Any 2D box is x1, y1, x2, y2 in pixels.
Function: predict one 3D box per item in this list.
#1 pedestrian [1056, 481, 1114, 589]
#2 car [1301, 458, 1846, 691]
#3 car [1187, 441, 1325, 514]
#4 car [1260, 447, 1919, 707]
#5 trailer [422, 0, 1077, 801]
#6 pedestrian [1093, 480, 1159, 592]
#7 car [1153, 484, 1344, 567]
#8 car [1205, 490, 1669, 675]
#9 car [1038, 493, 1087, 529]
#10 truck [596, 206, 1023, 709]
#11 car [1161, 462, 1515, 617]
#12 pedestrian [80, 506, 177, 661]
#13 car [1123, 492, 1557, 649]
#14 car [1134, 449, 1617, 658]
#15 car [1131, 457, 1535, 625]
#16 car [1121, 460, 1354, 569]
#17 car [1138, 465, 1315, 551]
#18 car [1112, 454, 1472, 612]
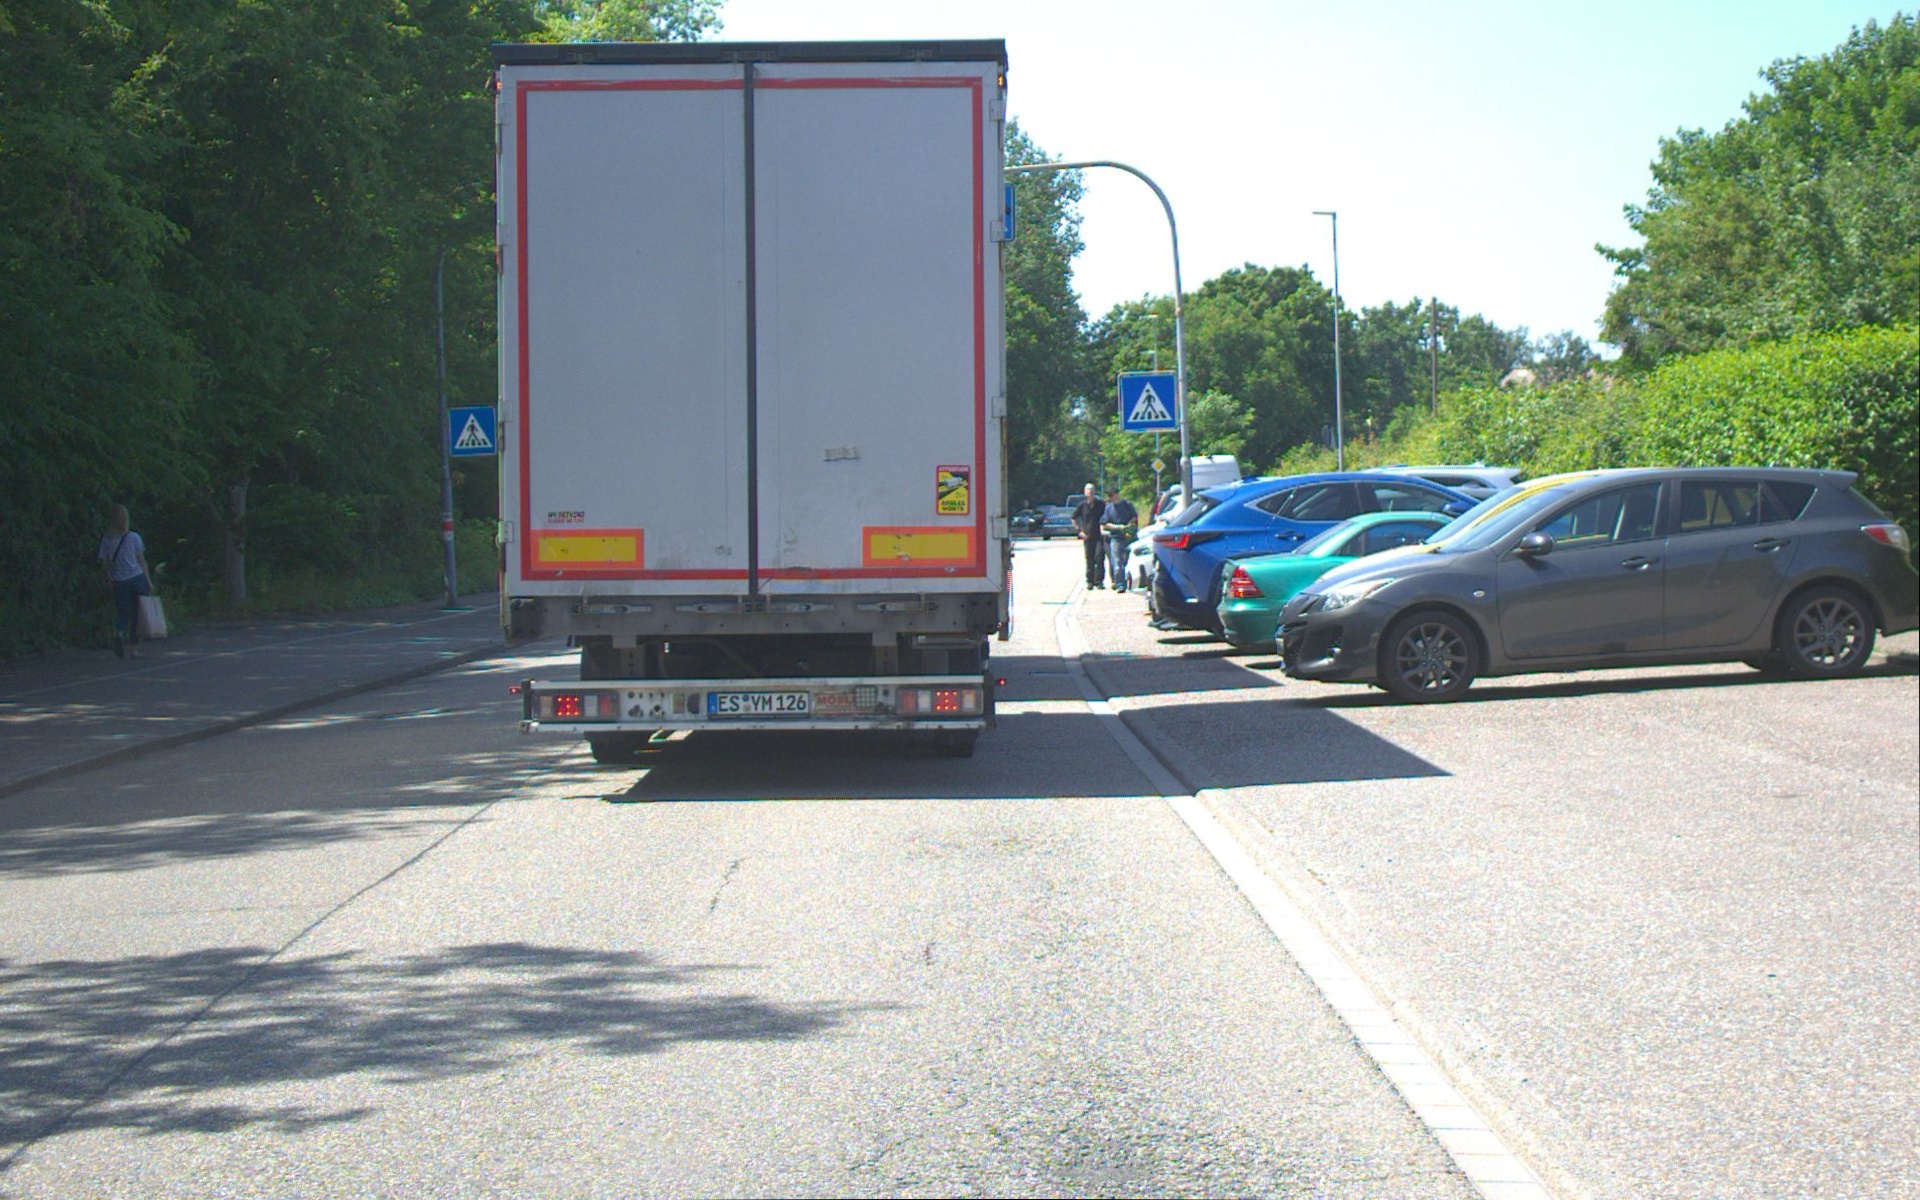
[{"bbox_3d":[2.214,-1.159,60.665,0.822,1.828,0.792,-5,1,6],"label":"pedestrian"},{"bbox_3d":[4.696,-0.208,26.683,3.801,1.450,1.775,-5,1,0],"label":"car"},{"bbox_3d":[8.880,-3.674,103.323,3.957,1.792,1.813,-5,-1,4],"label":"car"},{"bbox_3d":[4.265,-0.173,23.593,4.163,1.490,1.883,-3,1,0],"label":"car"},{"bbox_3d":[-1.098,-1.263,22.692,3.112,4.088,11.538,-2,2,-1],"label":"trailer"},{"bbox_3d":[2.782,-1.085,57.638,0.908,1.792,0.935,-5,1,6],"label":"pedestrian"},{"bbox_3d":[6.418,-1.677,76.722,3.956,1.613,1.814,-3,2,-2],"label":"car"},{"bbox_3d":[4.074,-0.167,29.769,3.735,1.264,1.628,-5,1,2],"label":"car"},{"bbox_3d":[4.370,-3.817,147.255,1.780,1.481,4.001,-2,2,-3],"label":"car"},{"bbox_3d":[-1.150,-1.165,29.128,3.114,3.712,6.414,-2,2,0],"label":"truck"},{"bbox_3d":[4.638,-0.762,42.656,4.125,1.651,1.887,-3,2,1],"label":"car"},{"bbox_3d":[-8.832,-0.187,36.545,0.828,1.617,0.783,0,2,-1],"label":"pedestrian"},{"bbox_3d":[3.887,-0.327,35.572,4.129,1.434,1.815,-2,2,-6],"label":"car"},{"bbox_3d":[3.870,-0.456,32.523,4.238,1.628,1.823,-4,2,0],"label":"car"},{"bbox_3d":[4.132,-0.652,38.576,4.235,1.648,1.900,-3,0,-1],"label":"car"},{"bbox_3d":[5.161,-1.616,64.117,3.956,1.662,1.814,-5,4,-6],"label":"car"},{"bbox_3d":[6.393,-2.218,82.738,3.956,1.759,1.814,-4,2,-2],"label":"car"},{"bbox_3d":[4.322,-0.886,45.200,4.404,1.692,1.877,-5,1,-1],"label":"car"}]
